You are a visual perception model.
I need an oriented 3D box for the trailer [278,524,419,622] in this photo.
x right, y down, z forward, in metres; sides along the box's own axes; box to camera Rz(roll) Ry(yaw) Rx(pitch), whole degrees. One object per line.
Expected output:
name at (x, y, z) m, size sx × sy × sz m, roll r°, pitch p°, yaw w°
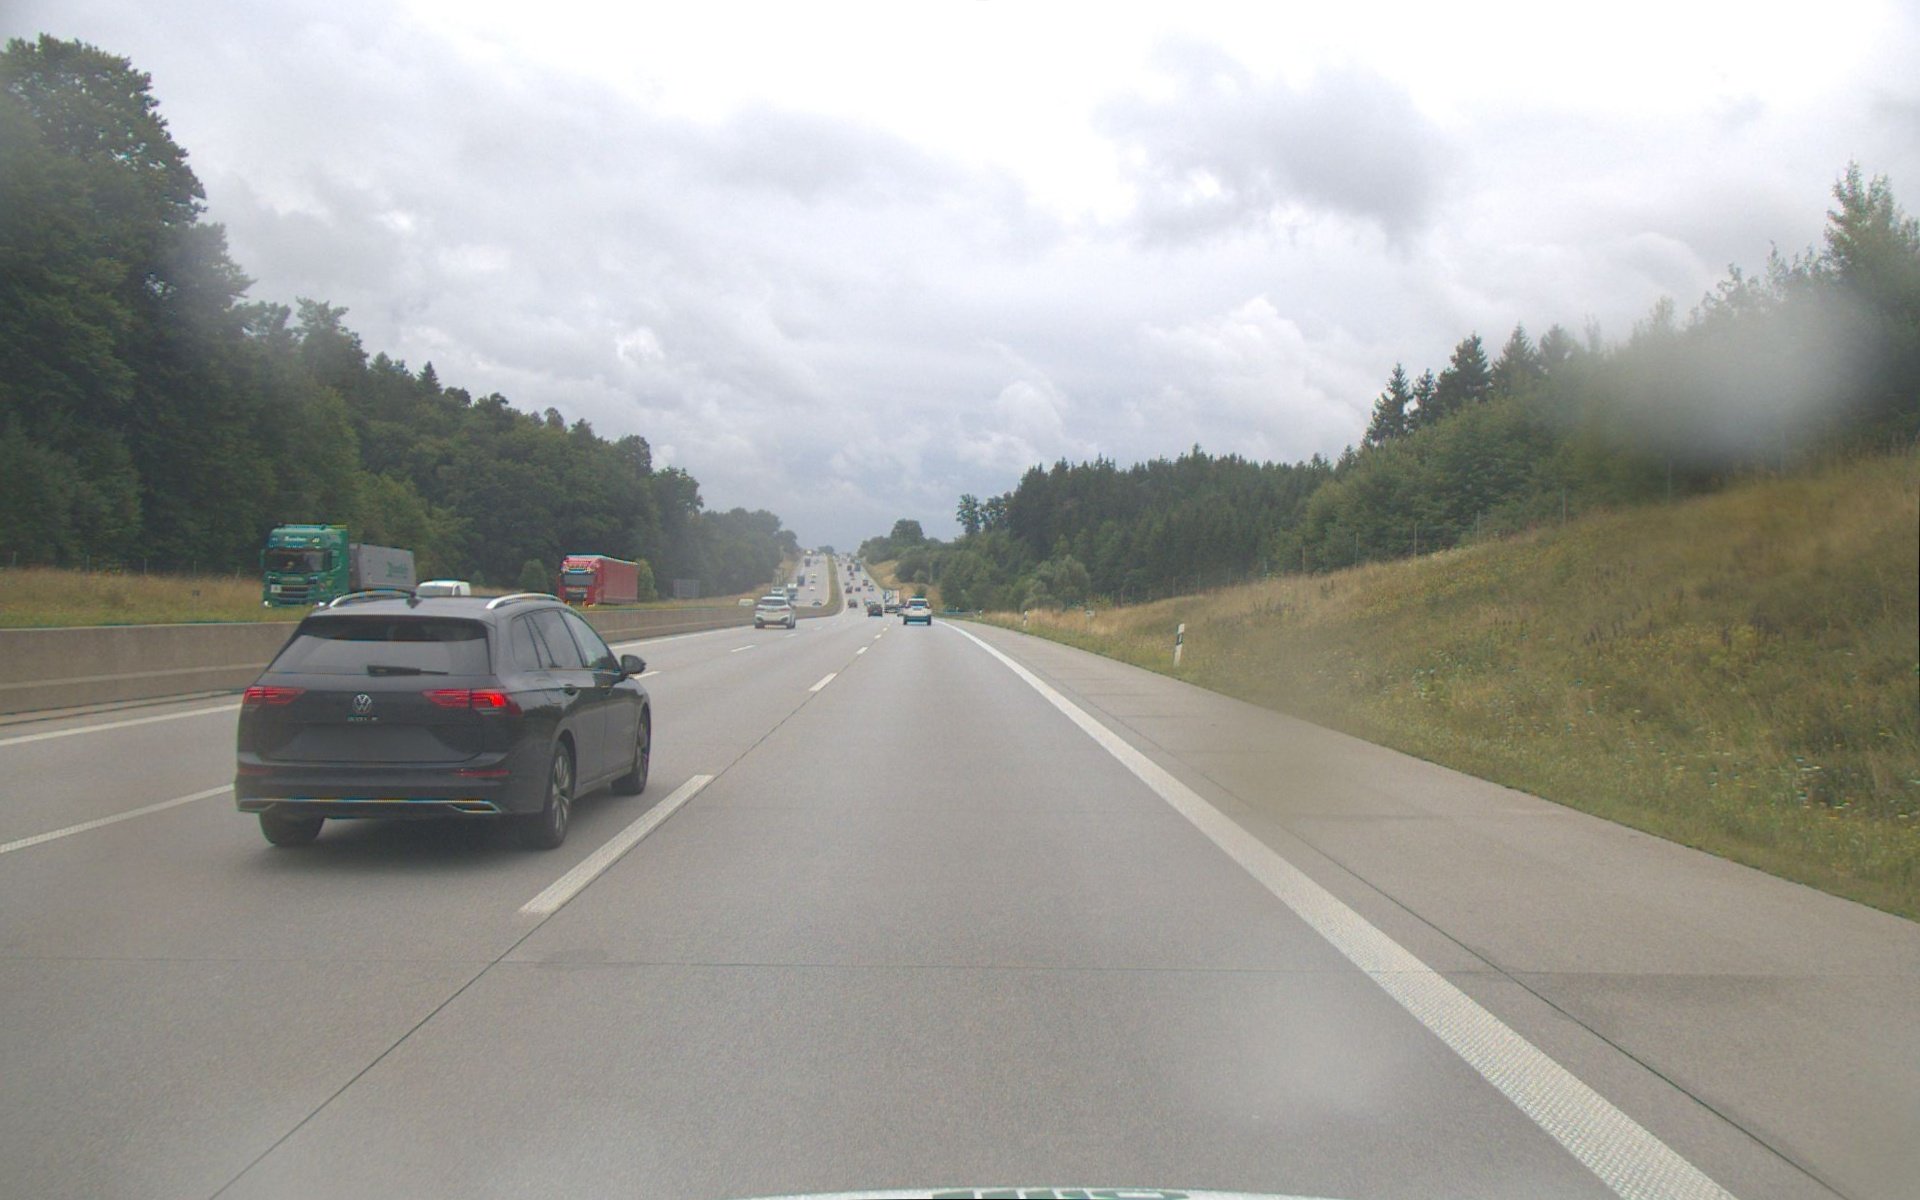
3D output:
trailer at (-25.343, -1.063, 69.104) m, size 2.747 × 3.765 × 9.009 m, roll 1°, pitch 0°, yaw -2°

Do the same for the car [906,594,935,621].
car at (-2.535, 0.450, 105.856) m, size 1.789 × 1.684 × 3.984 m, roll 1°, pitch 0°, yaw -1°

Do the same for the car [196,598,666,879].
car at (-3.134, 0.717, 10.804) m, size 1.717 × 1.422 × 4.482 m, roll 1°, pitch 0°, yaw -2°

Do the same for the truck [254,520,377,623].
truck at (-25.203, -1.079, 64.952) m, size 2.724 × 3.805 × 5.658 m, roll 1°, pitch 0°, yaw -2°

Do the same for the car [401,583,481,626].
car at (-20.315, 0.165, 64.934) m, size 1.744 × 1.627 × 4.559 m, roll 1°, pitch 0°, yaw -1°

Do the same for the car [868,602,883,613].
car at (-11.031, 0.951, 215.423) m, size 1.897 × 1.399 × 4.591 m, roll 1°, pitch 1°, yaw -4°

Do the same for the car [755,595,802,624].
car at (-8.964, 0.454, 82.120) m, size 1.908 × 1.379 × 4.258 m, roll 1°, pitch 0°, yaw -1°

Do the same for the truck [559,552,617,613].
truck at (-25.447, -1.175, 113.453) m, size 2.501 × 3.996 × 6.944 m, roll 1°, pitch 0°, yaw -2°
